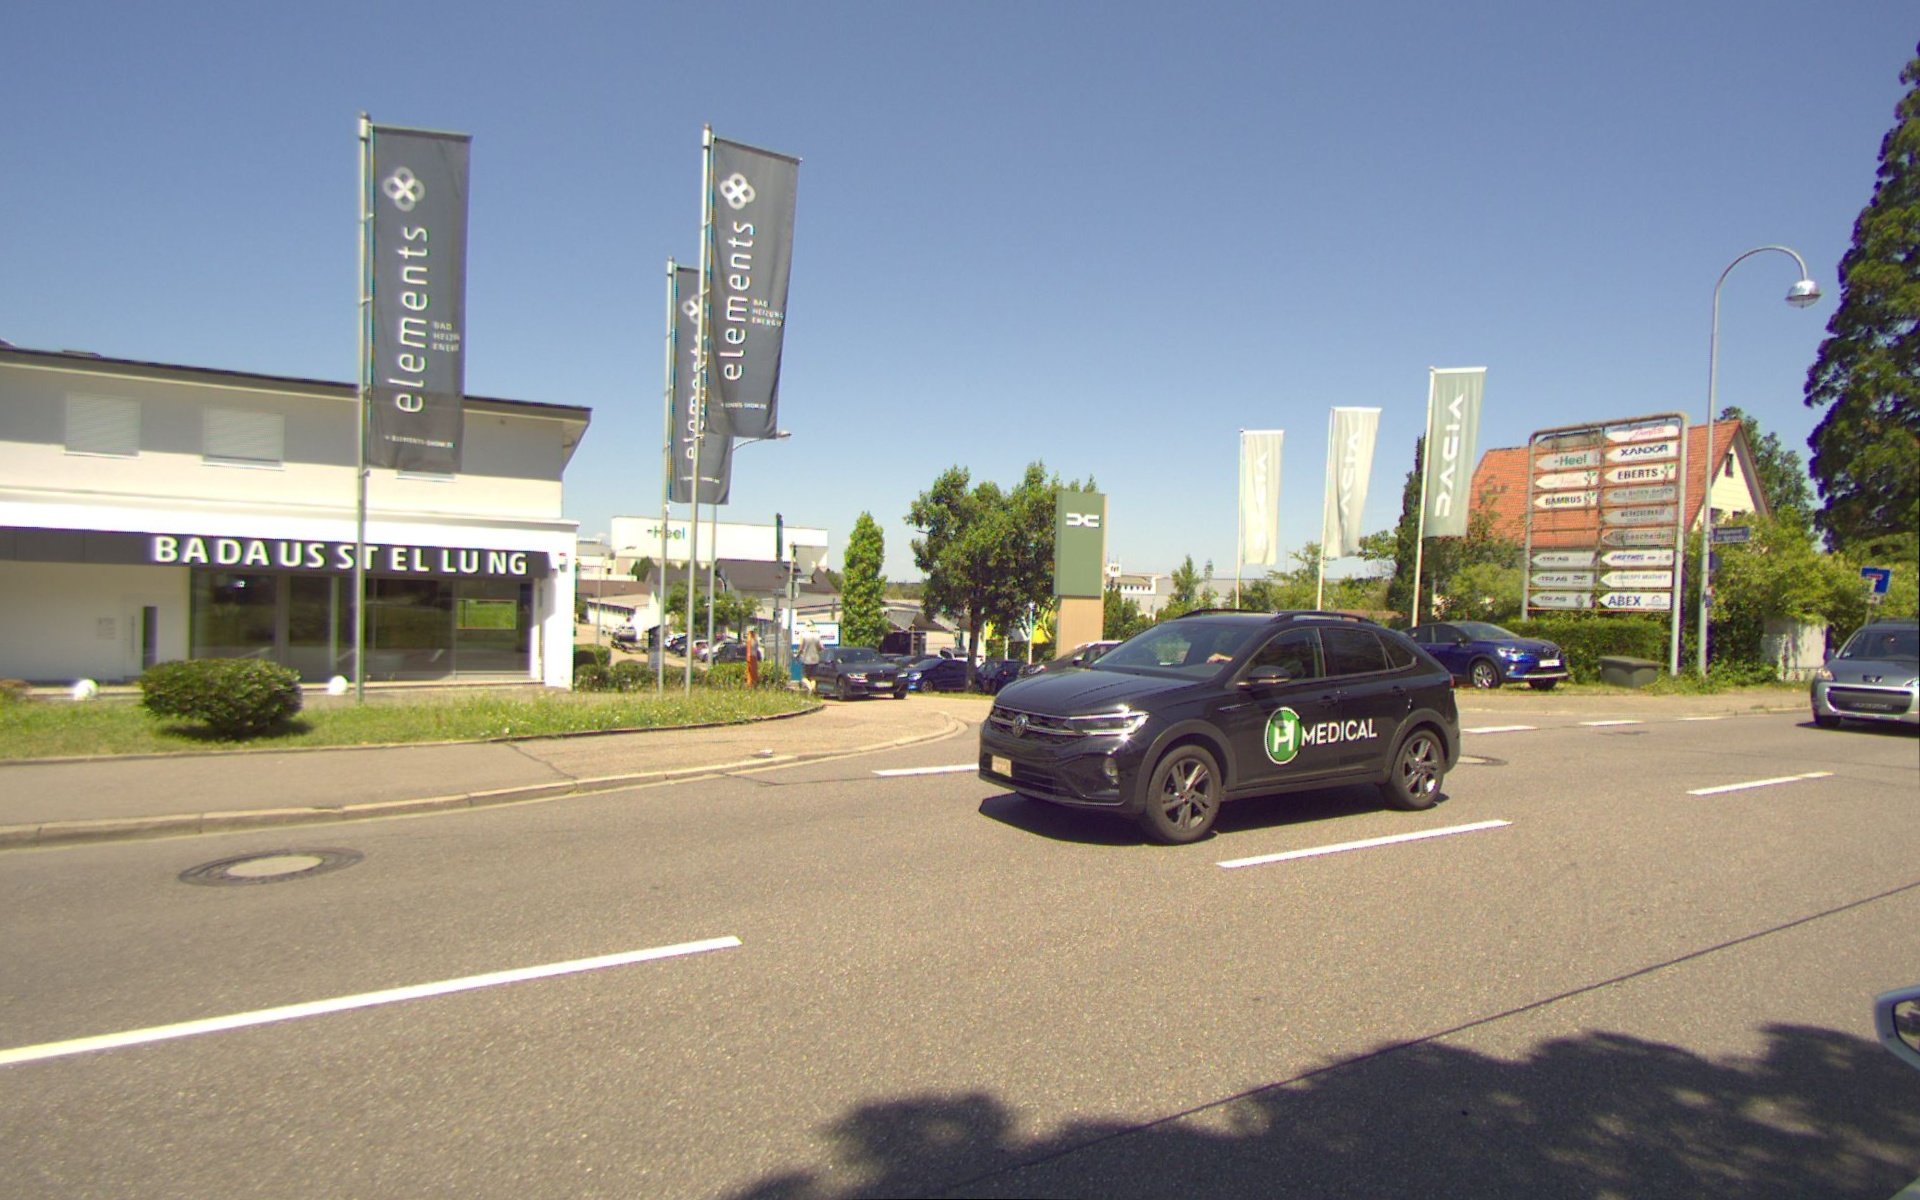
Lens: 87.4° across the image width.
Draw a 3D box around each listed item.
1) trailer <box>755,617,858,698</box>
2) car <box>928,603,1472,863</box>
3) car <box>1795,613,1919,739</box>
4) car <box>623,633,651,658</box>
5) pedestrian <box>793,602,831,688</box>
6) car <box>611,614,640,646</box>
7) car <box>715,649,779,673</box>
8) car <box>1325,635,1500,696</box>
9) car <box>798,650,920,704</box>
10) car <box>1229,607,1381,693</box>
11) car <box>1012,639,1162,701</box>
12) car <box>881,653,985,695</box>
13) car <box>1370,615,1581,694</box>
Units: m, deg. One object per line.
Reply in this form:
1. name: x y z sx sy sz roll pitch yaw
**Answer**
1. trailer: -5.193 1.882 33.272 1.915 2.437 5.335 1 -3 -26
2. car: 1.946 0.838 7.816 4.008 1.527 1.859 2 -1 -33
3. car: 15.291 1.155 16.035 4.522 1.785 1.800 2 -1 -34
4. car: -29.191 4.113 90.722 2.054 2.083 3.977 1 -1 -23
5. pedestrian: -3.128 0.945 21.273 0.688 1.785 0.545 1 0 -2
6. car: -33.831 2.991 101.468 2.212 3.030 6.310 1 -1 -23
7. car: -14.357 4.124 67.837 3.945 1.506 1.747 2 -1 -25
8. car: 12.220 1.752 27.366 4.012 1.411 1.679 2 0 9
9. car: -2.993 2.127 28.641 1.892 1.405 4.940 2 -3 -26
10. car: 8.021 1.102 23.841 2.022 1.750 4.458 -3 -1 0
11. car: 3.703 2.063 29.541 4.020 1.744 1.810 2 -3 -14
12. car: -1.020 2.812 38.658 3.837 1.434 1.633 2 -1 -41
13. car: 11.290 1.142 22.347 1.750 1.524 4.131 2 0 -19
